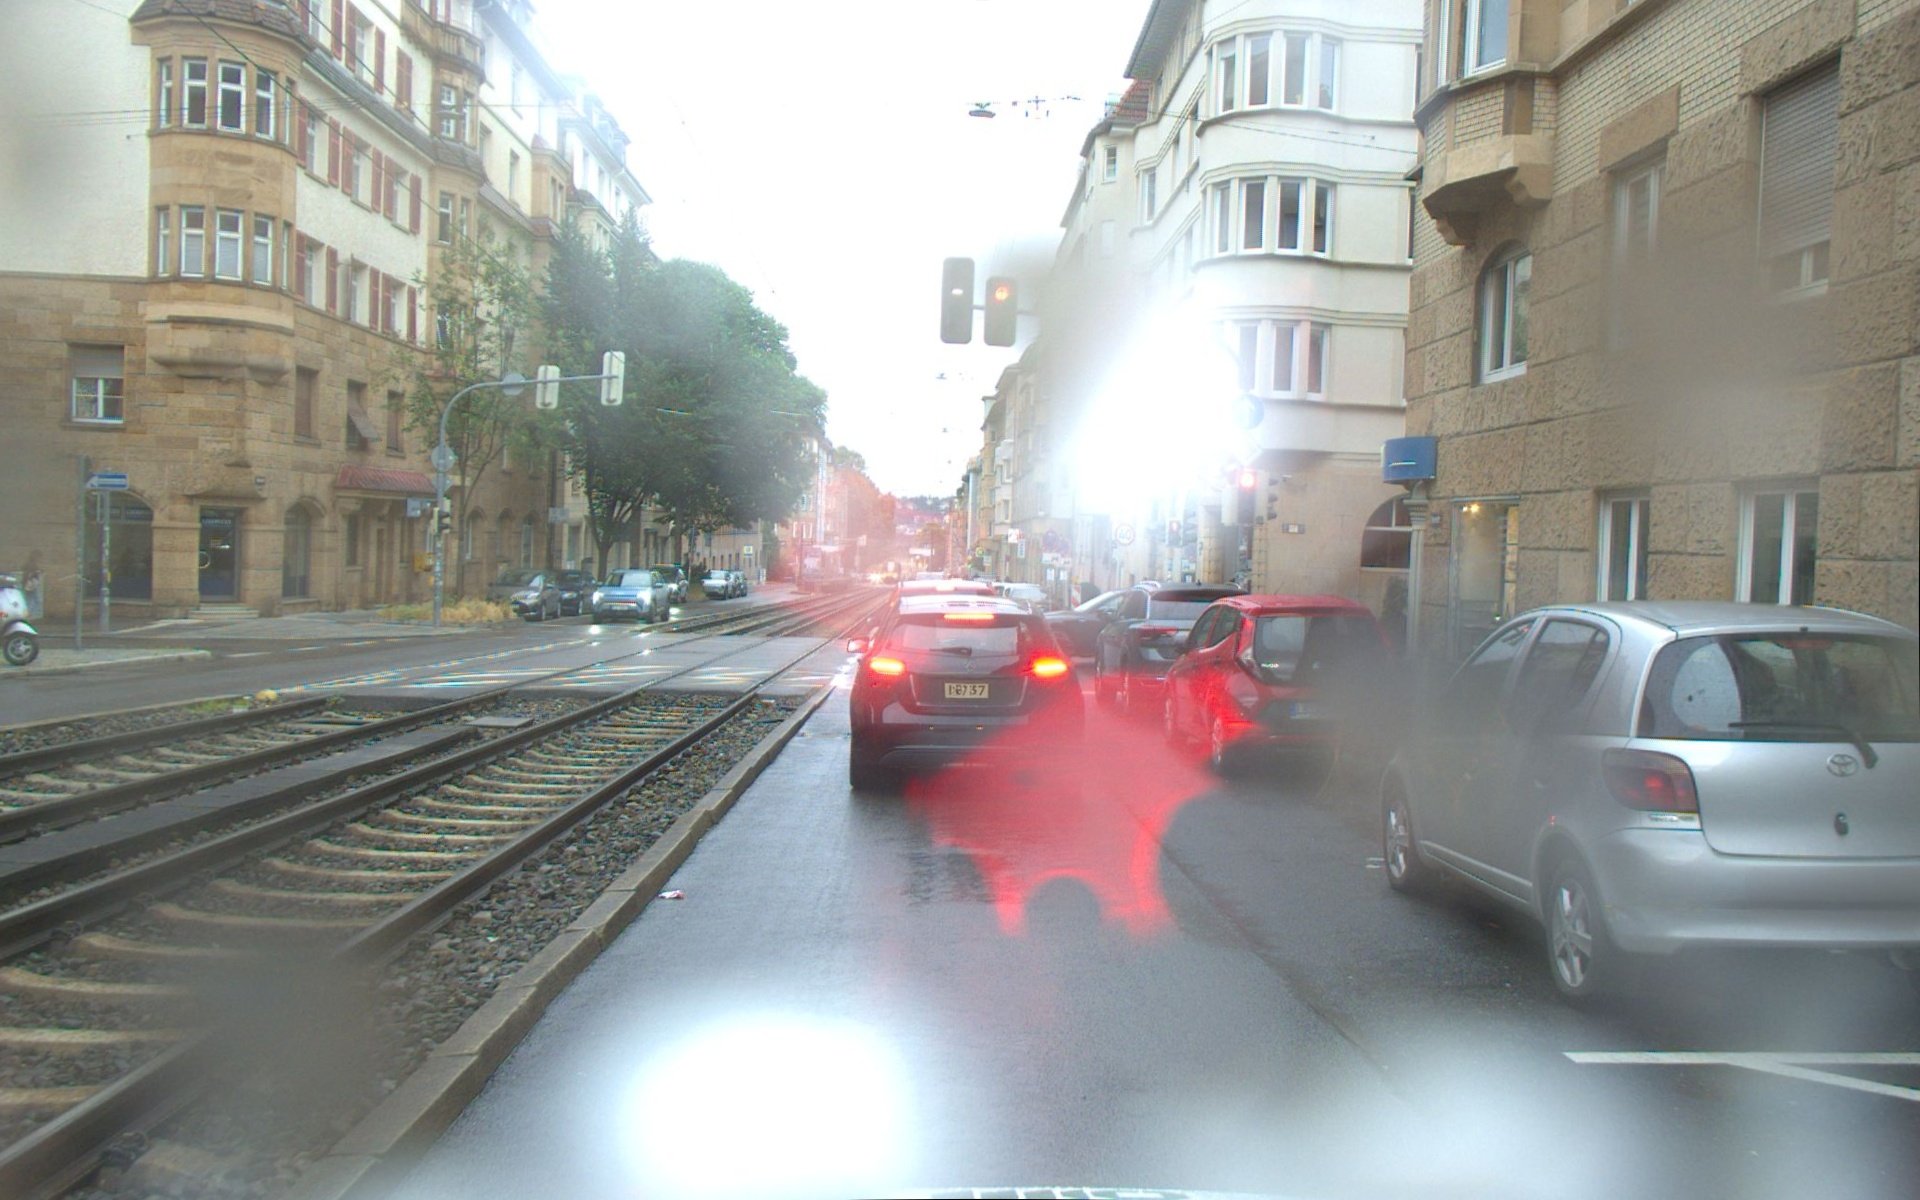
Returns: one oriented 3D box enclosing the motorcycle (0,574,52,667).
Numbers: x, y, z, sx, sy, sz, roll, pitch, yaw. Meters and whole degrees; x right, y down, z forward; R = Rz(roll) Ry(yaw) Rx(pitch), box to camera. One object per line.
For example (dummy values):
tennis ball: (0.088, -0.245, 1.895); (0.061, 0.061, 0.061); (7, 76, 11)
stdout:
motorcycle: (-12.483, 0.239, 21.371); (1.409, 1.154, 0.619); (2, 0, 29)

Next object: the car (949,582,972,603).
car: (-0.008, -0.659, 140.616); (1.870, 1.735, 4.000); (2, 1, -1)

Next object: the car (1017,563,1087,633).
car: (2.799, -0.034, 51.225); (1.860, 2.063, 4.175); (1, -1, -1)

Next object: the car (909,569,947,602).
car: (-1.744, -0.770, 89.780); (1.883, 1.684, 3.998); (2, 0, -3)

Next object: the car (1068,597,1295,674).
car: (4.308, 0.677, 32.680); (4.179, 1.310, 2.000); (2, 0, -1)

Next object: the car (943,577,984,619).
car: (0.135, -0.080, 75.111); (1.815, 1.829, 3.811); (1, -1, -1)

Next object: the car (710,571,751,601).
car: (-14.027, -0.866, 101.188); (1.893, 1.758, 4.185); (2, 0, -1)

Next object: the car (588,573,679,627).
car: (-10.000, -0.013, 50.970); (1.758, 1.575, 4.002); (-1, 0, 4)

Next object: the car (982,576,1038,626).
car: (1.893, 0.060, 63.667); (1.733, 1.807, 3.996); (1, -1, -5)

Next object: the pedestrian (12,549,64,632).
pedestrian: (-20.144, -0.207, 36.133); (0.595, 1.763, 0.865); (2, 0, 0)

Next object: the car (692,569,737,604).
car: (-13.791, -0.772, 93.130); (1.953, 1.825, 3.999); (2, 0, -1)

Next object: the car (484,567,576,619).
car: (-12.852, -0.202, 49.625); (1.735, 1.489, 3.999); (1, 0, -1)

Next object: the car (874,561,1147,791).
car: (0.292, 0.548, 13.475); (1.907, 1.592, 3.641); (1, 0, -2)

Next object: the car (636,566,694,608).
car: (-13.462, -0.600, 75.670); (1.953, 1.825, 3.999); (2, 0, -1)

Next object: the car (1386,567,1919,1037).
car: (3.161, 0.686, 7.364); (1.604, 1.569, 3.465); (2, 0, 0)

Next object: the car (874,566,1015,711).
car: (-0.193, 0.408, 20.237); (1.504, 1.536, 3.999); (2, 0, -1)

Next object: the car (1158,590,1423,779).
car: (2.807, 0.661, 14.669); (1.570, 1.444, 3.147); (2, 1, -2)

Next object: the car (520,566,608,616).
car: (-13.099, -0.293, 54.942); (1.953, 1.544, 3.999); (2, 0, -1)

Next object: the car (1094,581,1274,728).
car: (2.595, 0.572, 19.939); (1.518, 1.534, 3.999); (2, 0, -1)
